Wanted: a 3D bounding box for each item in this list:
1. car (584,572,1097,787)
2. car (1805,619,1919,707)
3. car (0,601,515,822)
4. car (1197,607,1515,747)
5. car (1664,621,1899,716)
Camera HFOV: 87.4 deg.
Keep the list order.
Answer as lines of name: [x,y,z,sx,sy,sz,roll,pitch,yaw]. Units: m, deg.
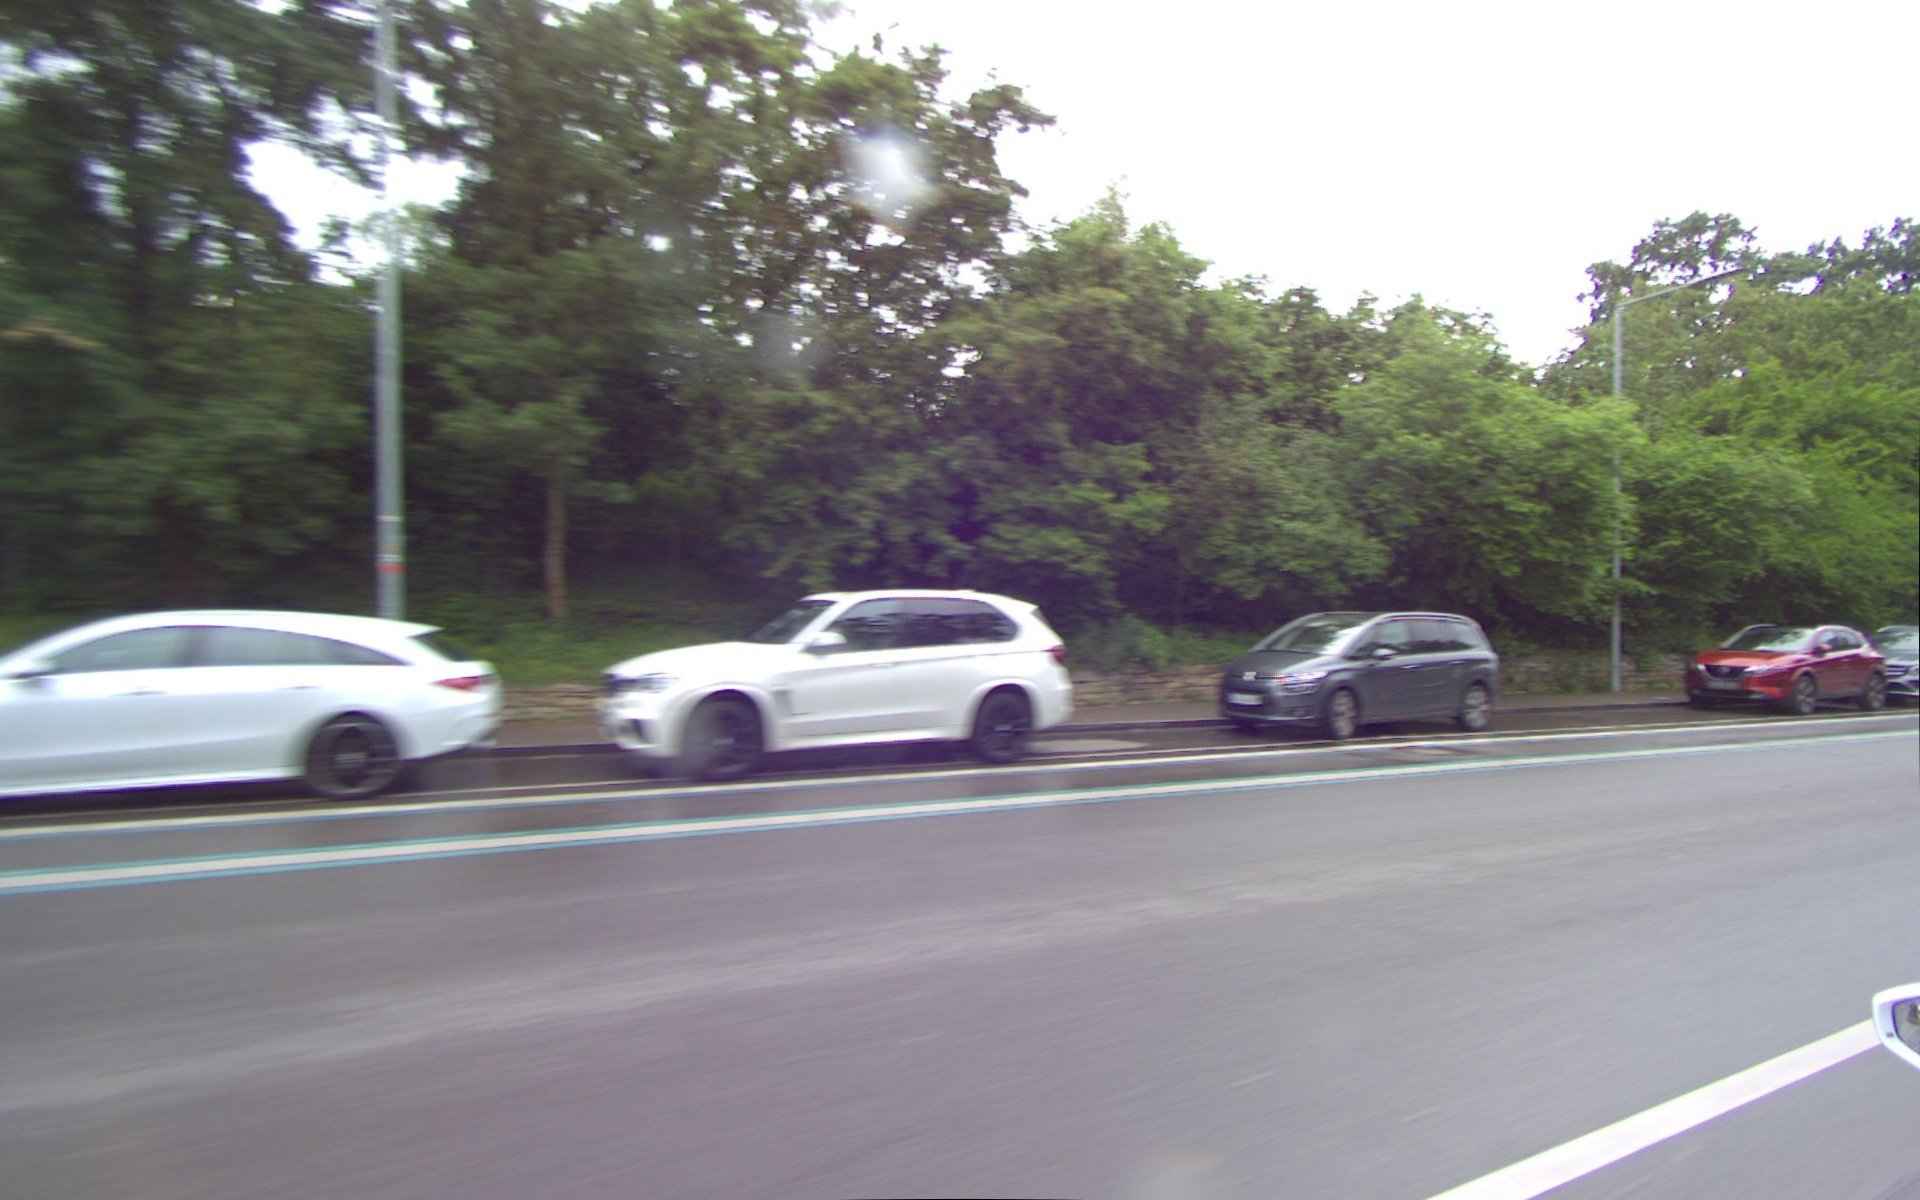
car: [-1.171,0.721,10.403,4.898,1.789,1.986,1,-1,-28]
car: [20.662,1.304,21.867,4.559,1.723,1.985,1,-1,-29]
car: [-6.083,0.770,7.891,4.647,1.479,1.712,1,0,-27]
car: [5.612,0.983,14.069,4.518,1.671,1.723,1,0,-31]
car: [15.900,1.257,19.417,4.431,1.638,1.912,1,-1,-27]
